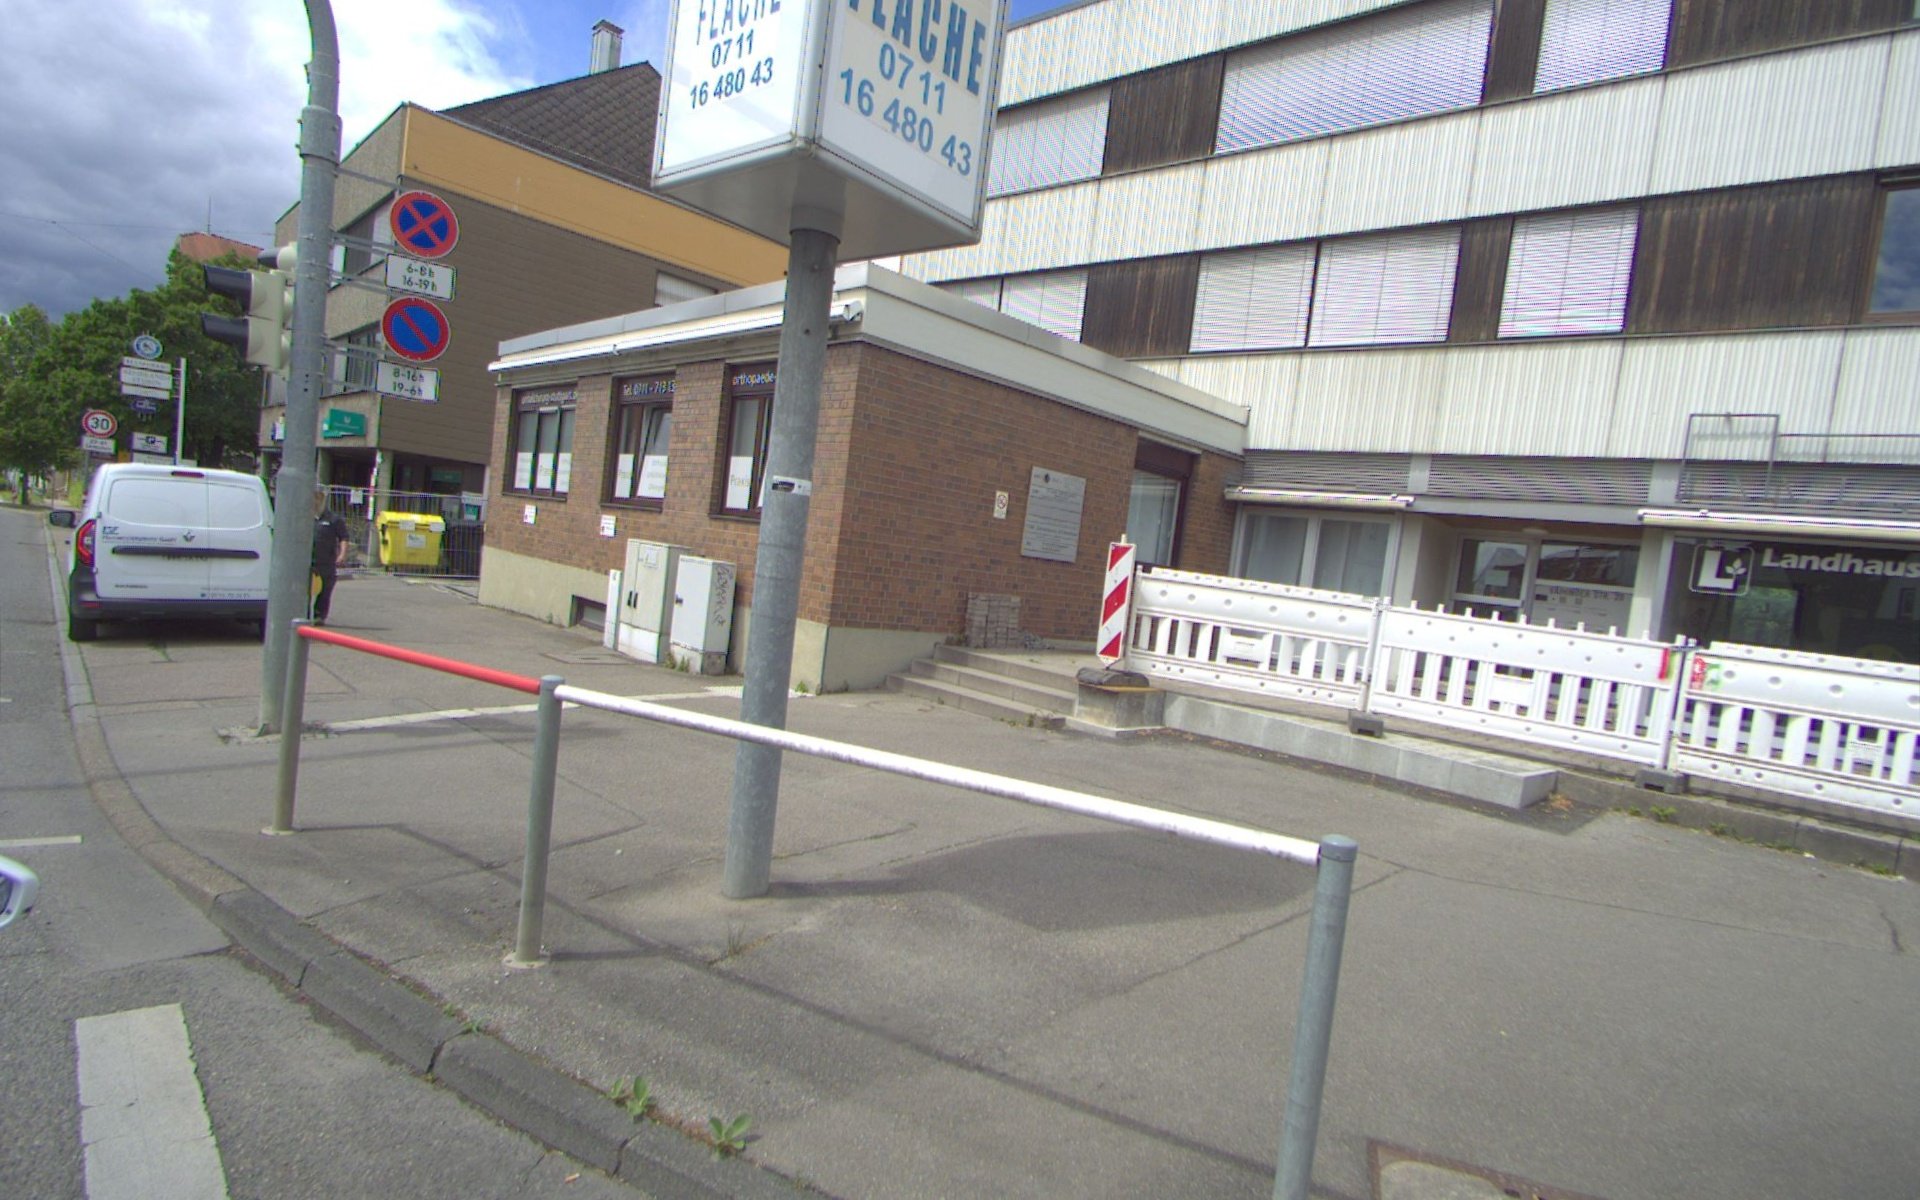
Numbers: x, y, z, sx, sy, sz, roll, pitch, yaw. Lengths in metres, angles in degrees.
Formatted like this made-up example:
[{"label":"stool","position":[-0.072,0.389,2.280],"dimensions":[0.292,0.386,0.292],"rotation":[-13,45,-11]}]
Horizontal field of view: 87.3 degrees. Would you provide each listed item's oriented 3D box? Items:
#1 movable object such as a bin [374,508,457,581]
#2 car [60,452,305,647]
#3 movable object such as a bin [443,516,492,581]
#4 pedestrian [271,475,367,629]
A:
[{"label":"movable object such as a bin","position":[-12.951,-1.306,23.922],"dimensions":[1.475,1.513,1.063],"rotation":[4,5,-41]},{"label":"car","position":[-9.120,-0.612,11.643],"dimensions":[1.901,1.819,4.436],"rotation":[0,4,-42]},{"label":"movable object such as a bin","position":[-12.120,-1.265,24.735],"dimensions":[0.776,1.460,1.006],"rotation":[4,5,-40]},{"label":"pedestrian","position":[-8.004,-0.589,12.564],"dimensions":[0.839,1.827,0.643],"rotation":[2,4,-44]}]
